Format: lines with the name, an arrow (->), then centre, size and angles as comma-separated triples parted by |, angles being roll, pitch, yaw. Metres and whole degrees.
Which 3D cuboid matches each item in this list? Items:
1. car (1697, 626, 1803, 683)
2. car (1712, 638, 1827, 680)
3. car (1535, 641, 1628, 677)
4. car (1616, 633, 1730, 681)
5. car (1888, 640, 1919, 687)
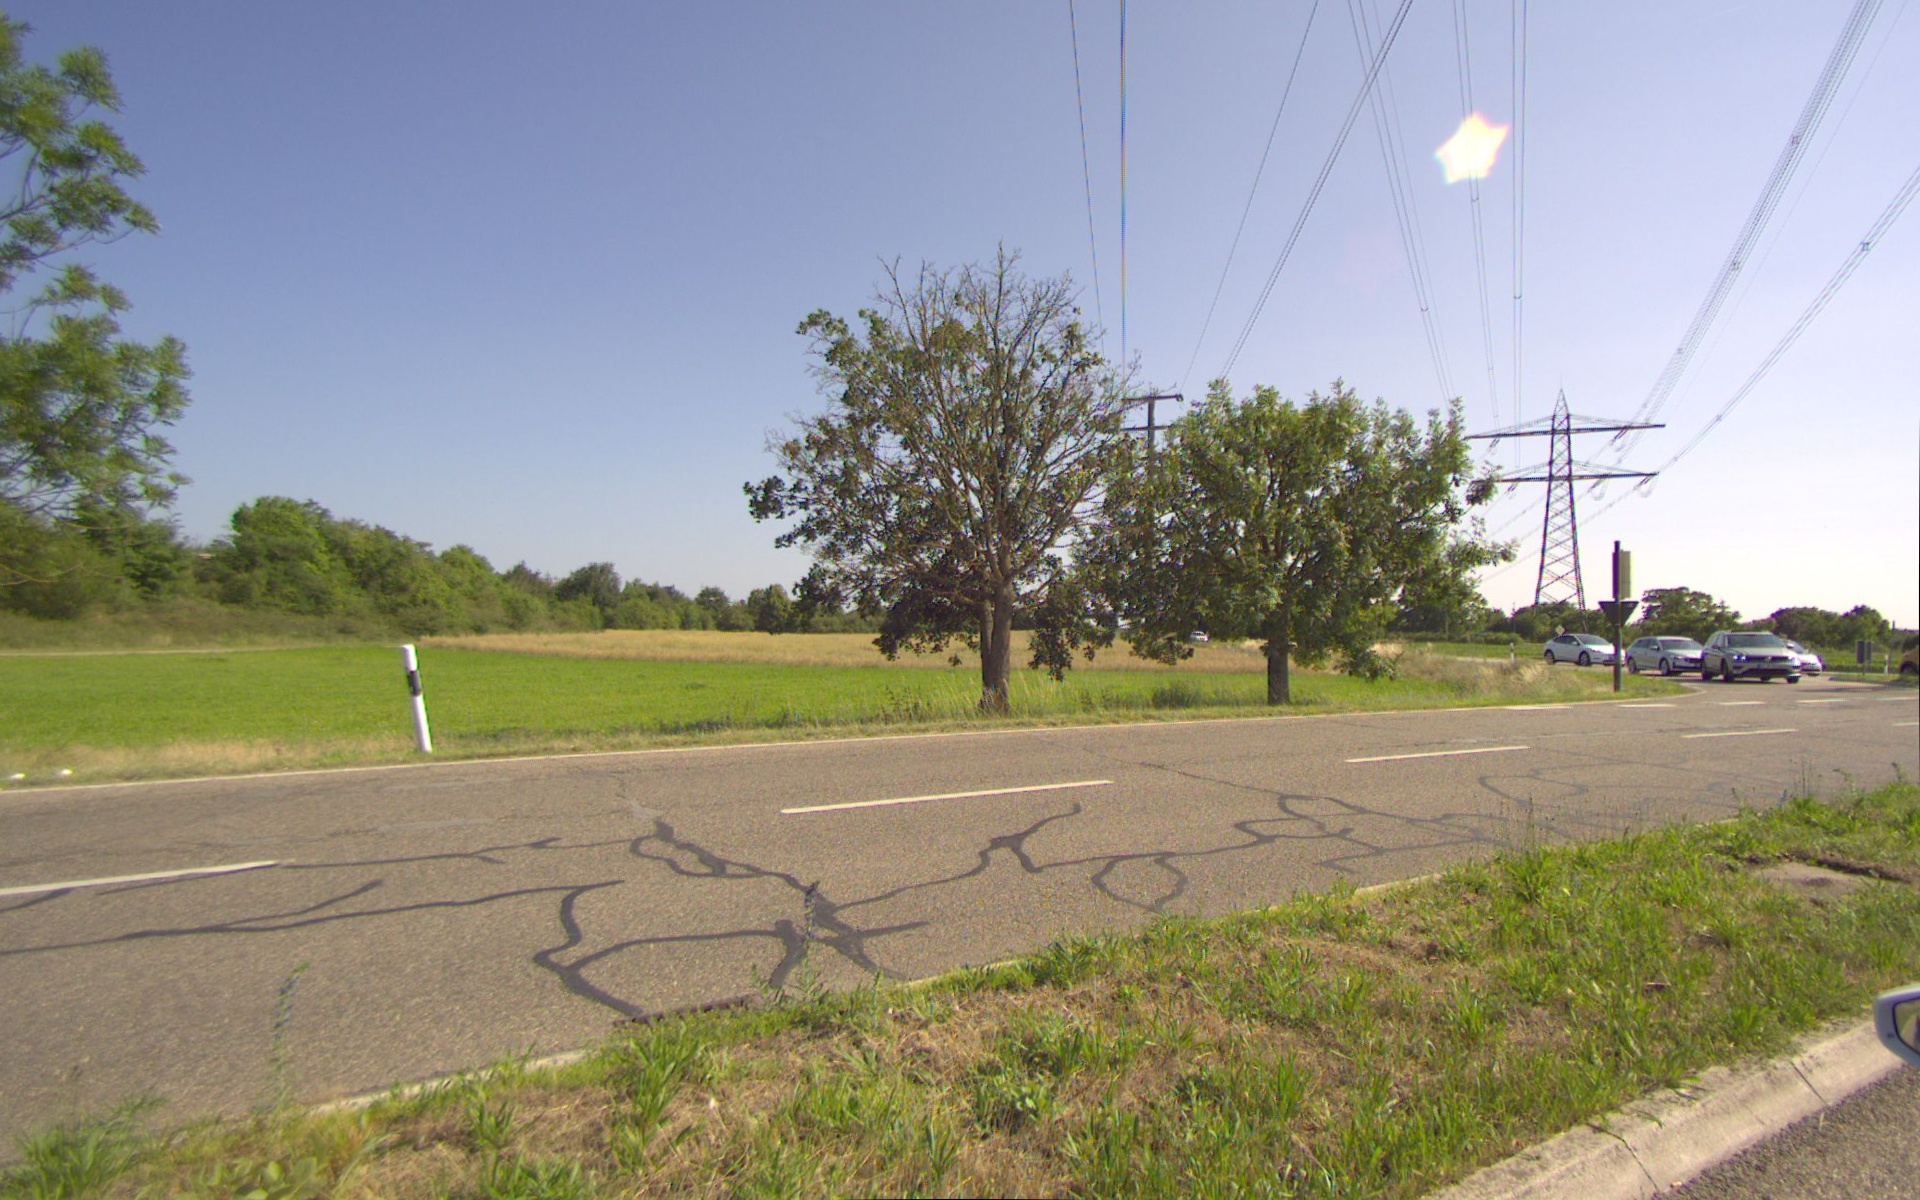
car -> 24.951, 1.673, 31.878 | 1.786, 1.673, 3.997 | 0, -2, 25
car -> 35.440, 2.565, 44.105 | 1.784, 1.673, 4.000 | 1, -1, -1
car -> 31.773, 2.971, 51.492 | 1.784, 1.673, 4.761 | 1, -1, -1
car -> 26.958, 2.107, 38.135 | 1.783, 1.673, 4.003 | 1, -1, 6
car -> 35.292, 2.266, 35.220 | 1.784, 1.673, 4.000 | 1, -1, -1
